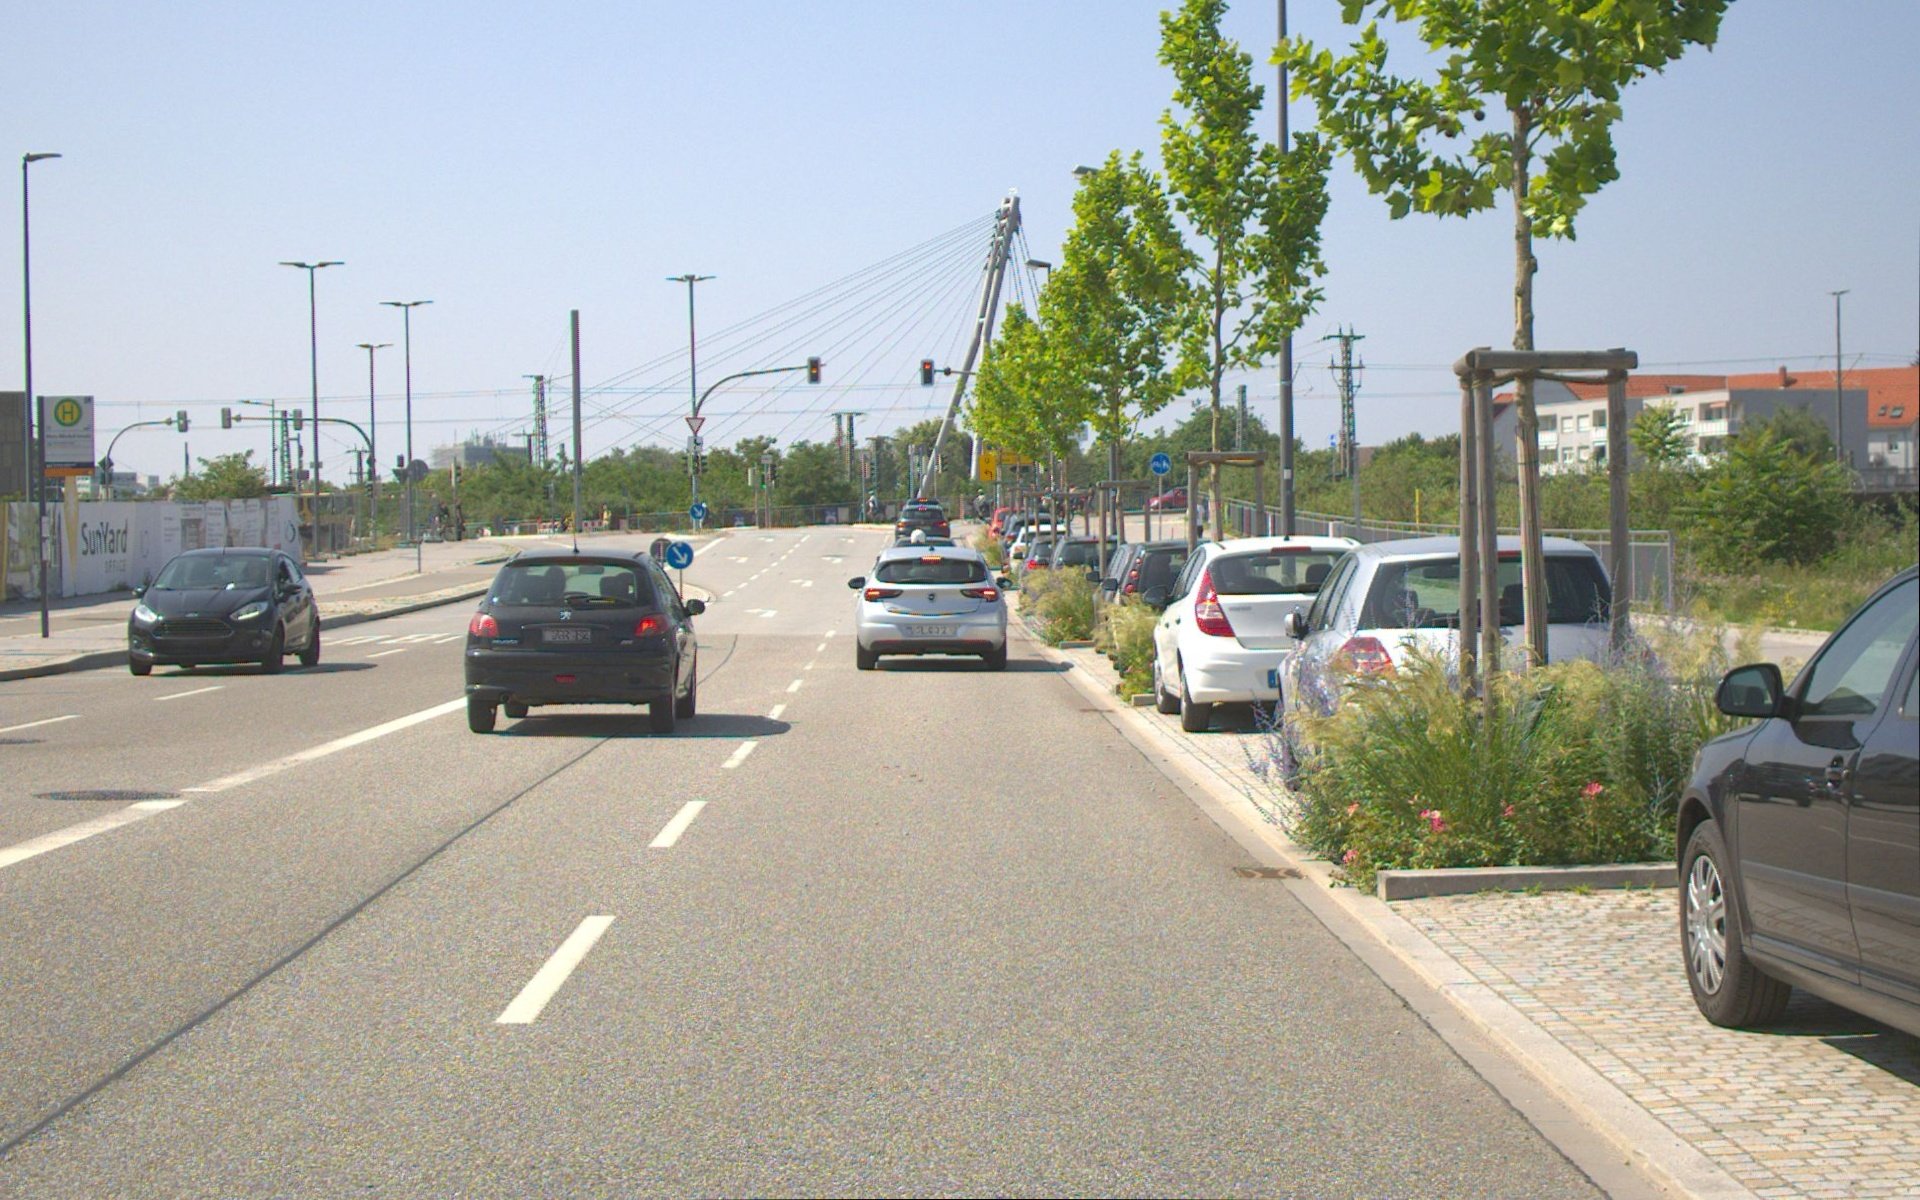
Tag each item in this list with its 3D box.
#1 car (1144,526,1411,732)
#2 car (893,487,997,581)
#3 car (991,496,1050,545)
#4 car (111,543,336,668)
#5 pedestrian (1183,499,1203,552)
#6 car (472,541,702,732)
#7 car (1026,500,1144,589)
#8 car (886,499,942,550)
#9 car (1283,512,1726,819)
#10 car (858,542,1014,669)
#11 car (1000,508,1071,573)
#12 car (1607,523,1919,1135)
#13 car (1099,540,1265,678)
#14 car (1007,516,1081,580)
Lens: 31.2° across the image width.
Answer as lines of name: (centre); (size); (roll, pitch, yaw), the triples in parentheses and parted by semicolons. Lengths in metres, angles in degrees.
car: (2.468, 0.173, 27.588); (1.746, 1.504, 4.002); (0, 2, 0)
car: (-0.266, -1.198, 61.250); (1.778, 1.563, 4.001); (-1, 2, 0)
car: (1.928, -2.557, 110.480); (1.778, 1.498, 4.000); (-1, 2, 0)
car: (-8.553, 0.026, 40.263); (1.704, 1.347, 4.456); (-1, 1, -1)
pedestrian: (6.953, -2.224, 102.635); (0.533, 1.570, 0.524); (1, 0, 0)
car: (-2.972, 0.245, 27.978); (1.619, 1.411, 3.728); (-1, 1, -3)
car: (2.166, -0.957, 60.483); (1.704, 1.457, 3.954); (-2, 0, -2)
car: (-1.487, -2.483, 112.060); (1.778, 1.563, 4.001); (-1, 2, 0)
car: (2.847, 0.276, 18.821); (1.908, 1.474, 4.157); (-1, 1, 2)
car: (-0.268, 0.025, 41.464); (1.778, 1.437, 4.000); (0, 1, 0)
car: (2.004, -1.618, 92.168); (1.822, 1.611, 3.611); (-2, 2, 1)
car: (3.137, 0.513, 8.854); (1.789, 1.472, 4.373); (-2, 0, -4)
car: (2.448, 0.063, 38.721); (1.704, 1.457, 4.085); (0, 1, 1)
car: (2.071, -1.312, 85.512); (1.696, 1.470, 4.206); (-2, 2, 0)
